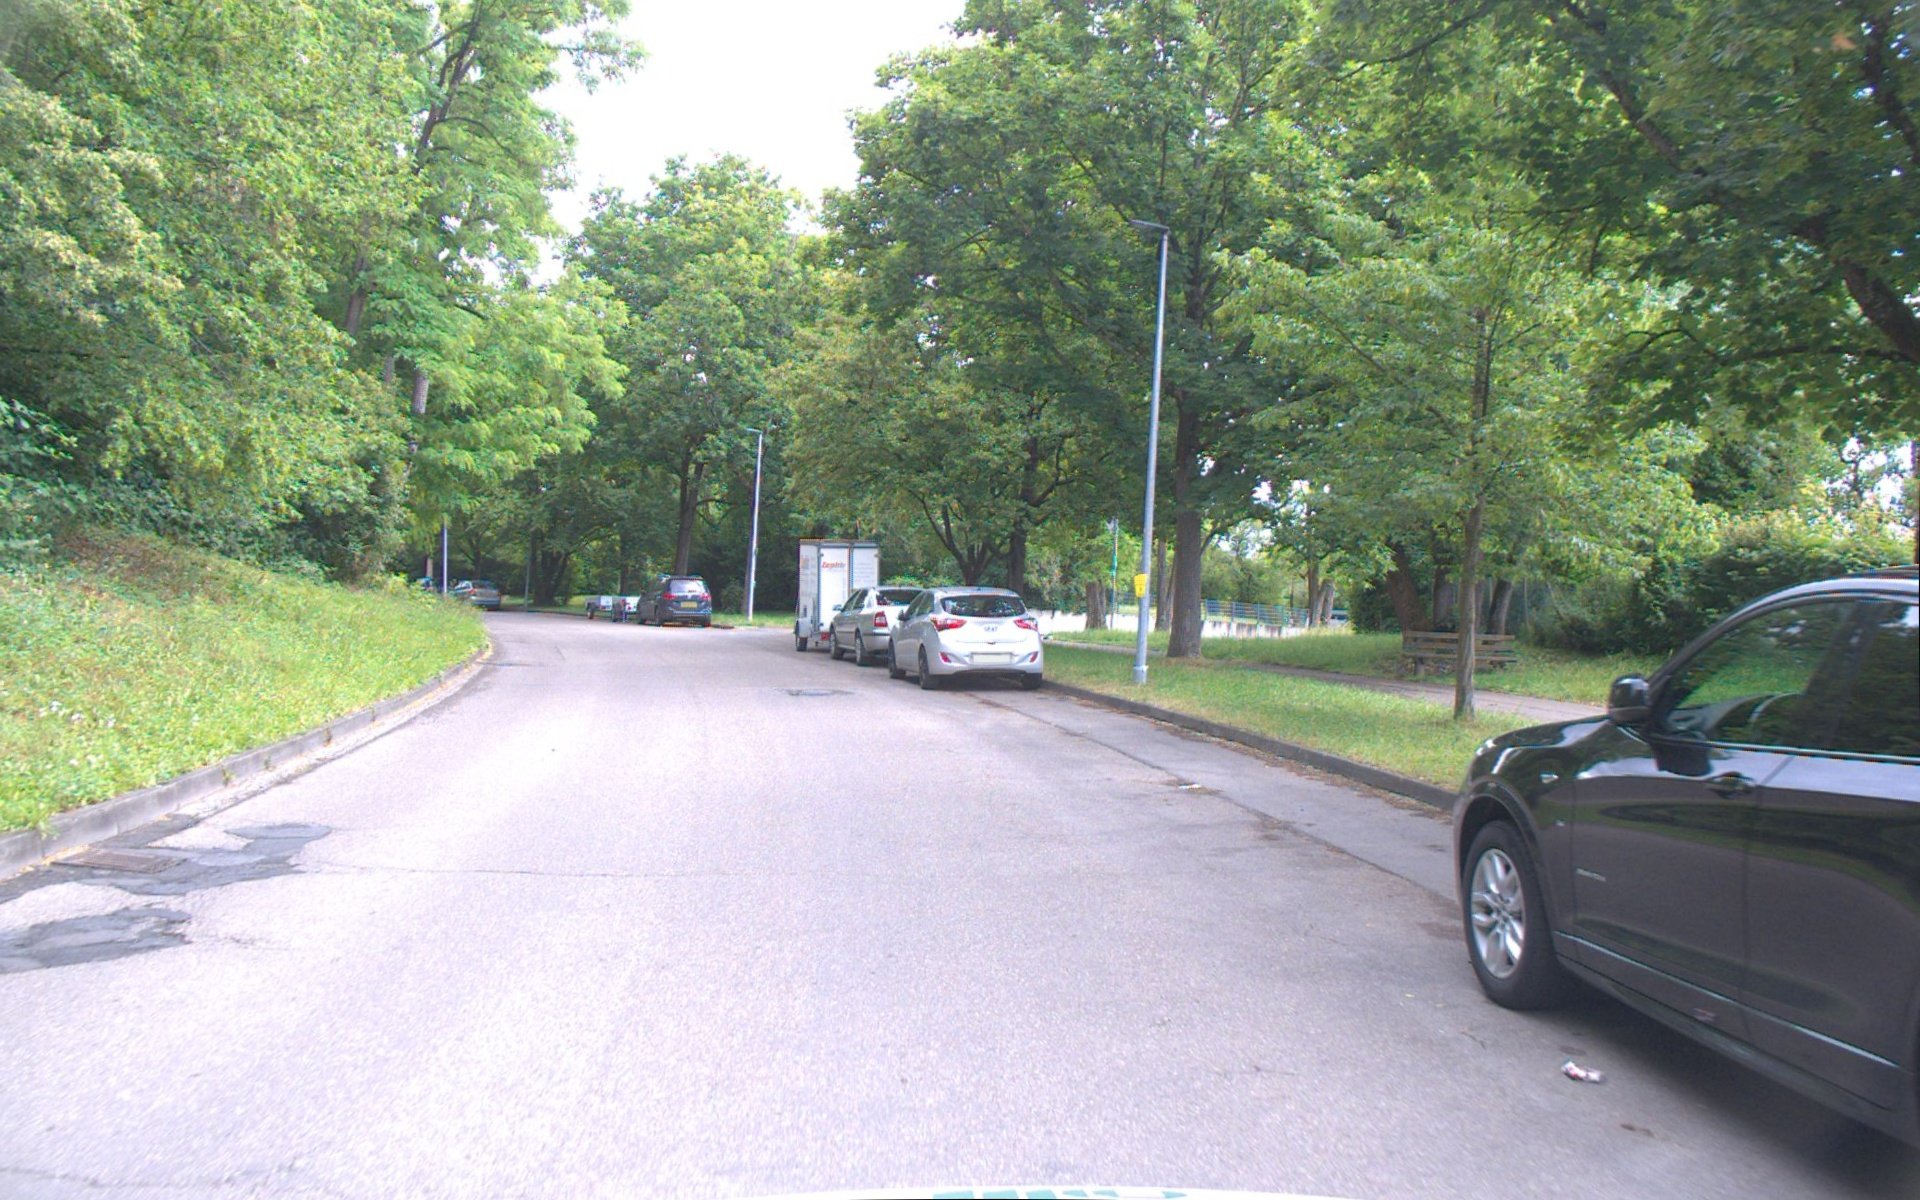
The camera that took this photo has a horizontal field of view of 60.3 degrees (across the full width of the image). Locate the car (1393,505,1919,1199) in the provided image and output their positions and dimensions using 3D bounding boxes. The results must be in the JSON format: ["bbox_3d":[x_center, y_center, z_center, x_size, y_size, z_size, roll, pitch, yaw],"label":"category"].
[{"bbox_3d":[3.006,0.622,5.021,1.812,1.671,4.525,1,0,-5],"label":"car"}]

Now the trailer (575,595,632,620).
[{"bbox_3d":[-13.974,0.301,64.717,1.347,0.862,3.249,3,-2,-27],"label":"trailer"}]

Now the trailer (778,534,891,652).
[{"bbox_3d":[-2.855,-0.159,36.924,1.732,2.469,3.870,0,0,-16],"label":"trailer"}]

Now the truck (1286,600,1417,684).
[{"bbox_3d":[20.702,2.291,86.941,2.648,4.067,9.519,0,-3,40],"label":"truck"}]

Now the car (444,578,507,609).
[{"bbox_3d":[-23.357,-0.273,79.667,1.704,1.456,3.898,0,-1,-36],"label":"car"}]

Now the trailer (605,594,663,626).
[{"bbox_3d":[-11.928,0.350,60.418,1.338,0.986,3.867,3,0,-22],"label":"trailer"}]

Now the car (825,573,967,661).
[{"bbox_3d":[-1.311,0.297,31.756,1.713,1.552,4.616,0,0,-16],"label":"car"}]

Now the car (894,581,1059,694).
[{"bbox_3d":[0.161,0.509,25.186,1.867,1.502,4.051,2,0,-8],"label":"car"}]

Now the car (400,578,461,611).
[{"bbox_3d":[-27.266,-0.263,85.173,1.701,1.536,4.126,4,-2,-37],"label":"car"}]

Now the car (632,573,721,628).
[{"bbox_3d":[-9.459,0.020,54.885,1.752,1.691,4.805,3,-1,-23],"label":"car"}]
